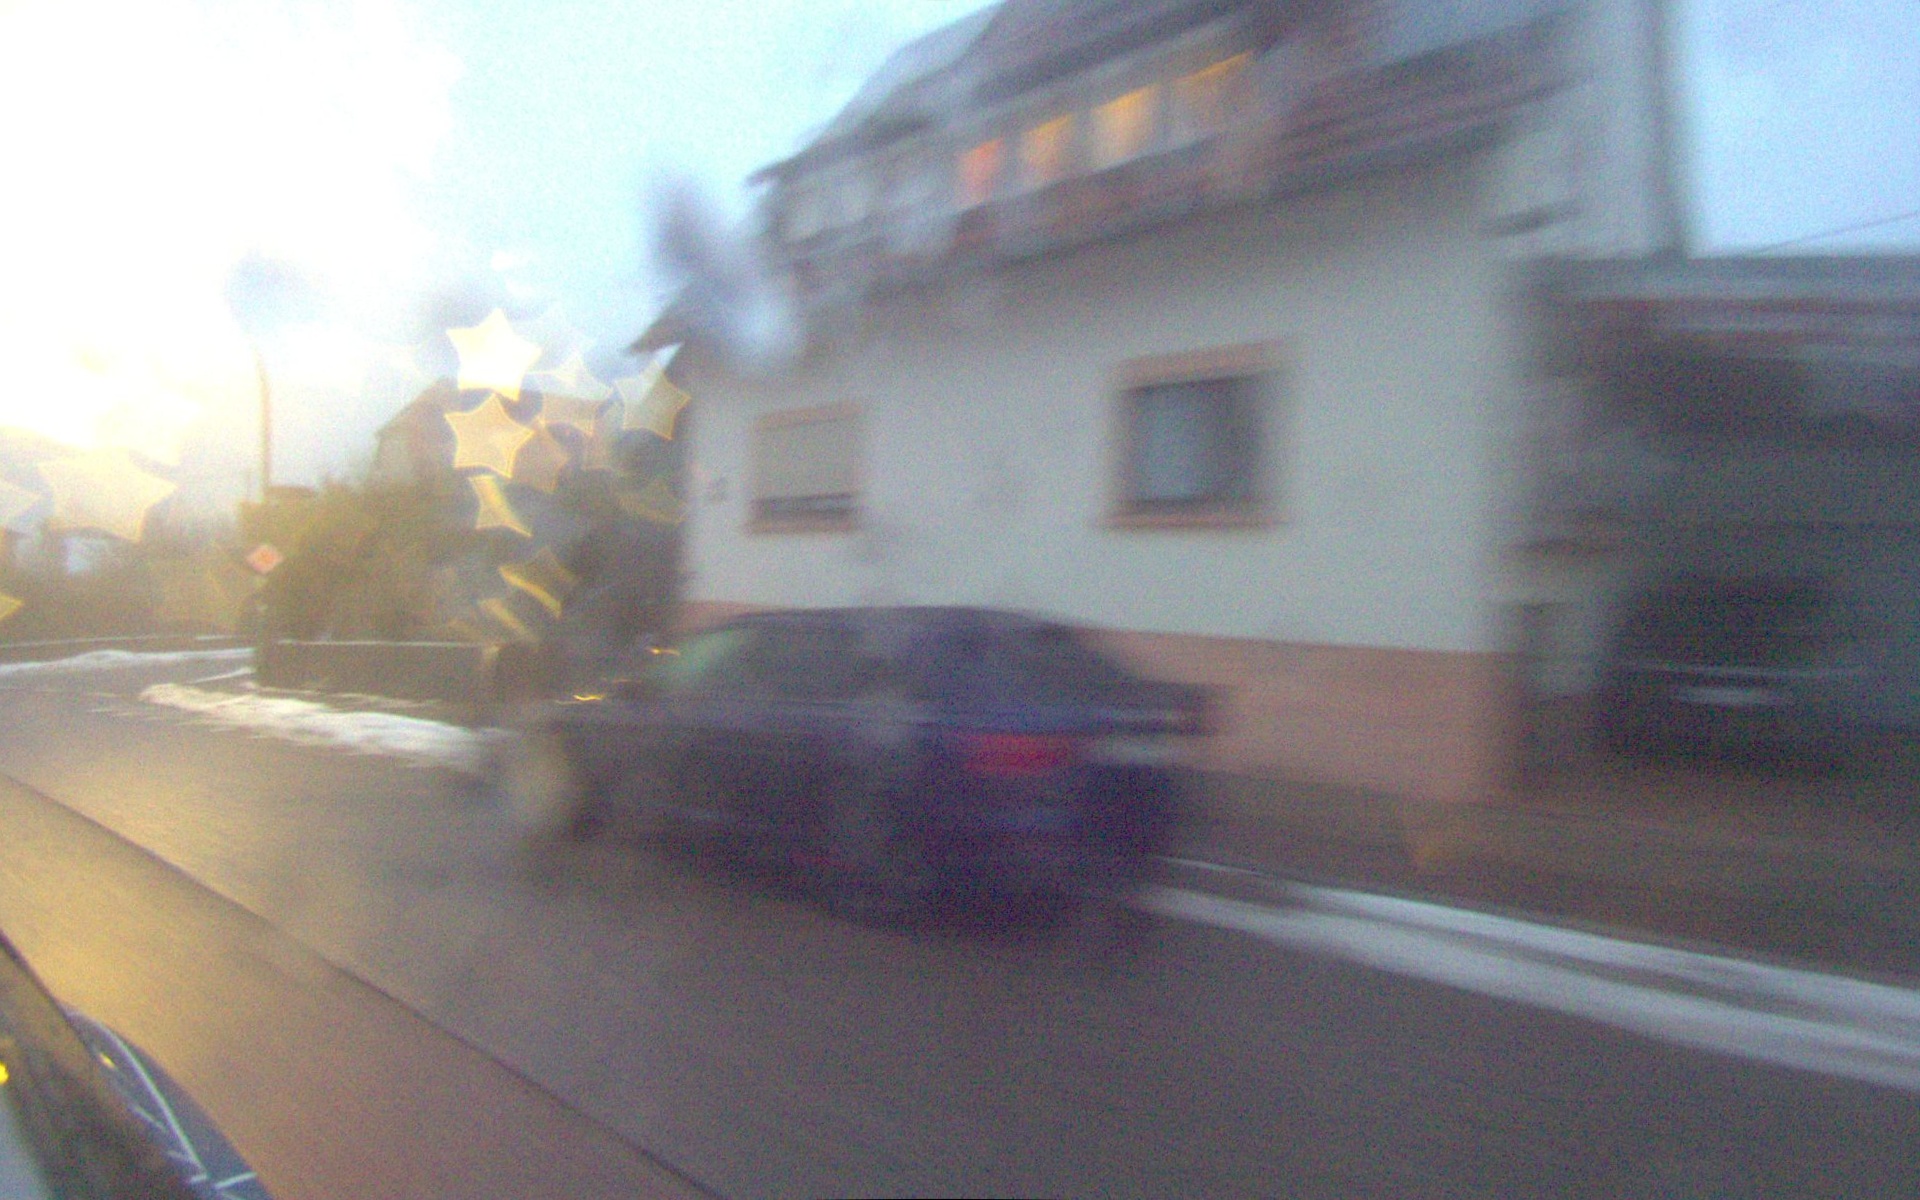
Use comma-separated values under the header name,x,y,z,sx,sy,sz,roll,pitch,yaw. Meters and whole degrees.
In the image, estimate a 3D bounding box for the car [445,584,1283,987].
name,x,y,z,sx,sy,sz,roll,pitch,yaw
car,-1.027,0.709,6.141,5.389,1.437,1.857,-1,0,41

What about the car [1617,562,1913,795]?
name,x,y,z,sx,sy,sz,roll,pitch,yaw
car,7.584,0.503,9.484,1.793,1.660,3.945,2,4,42
